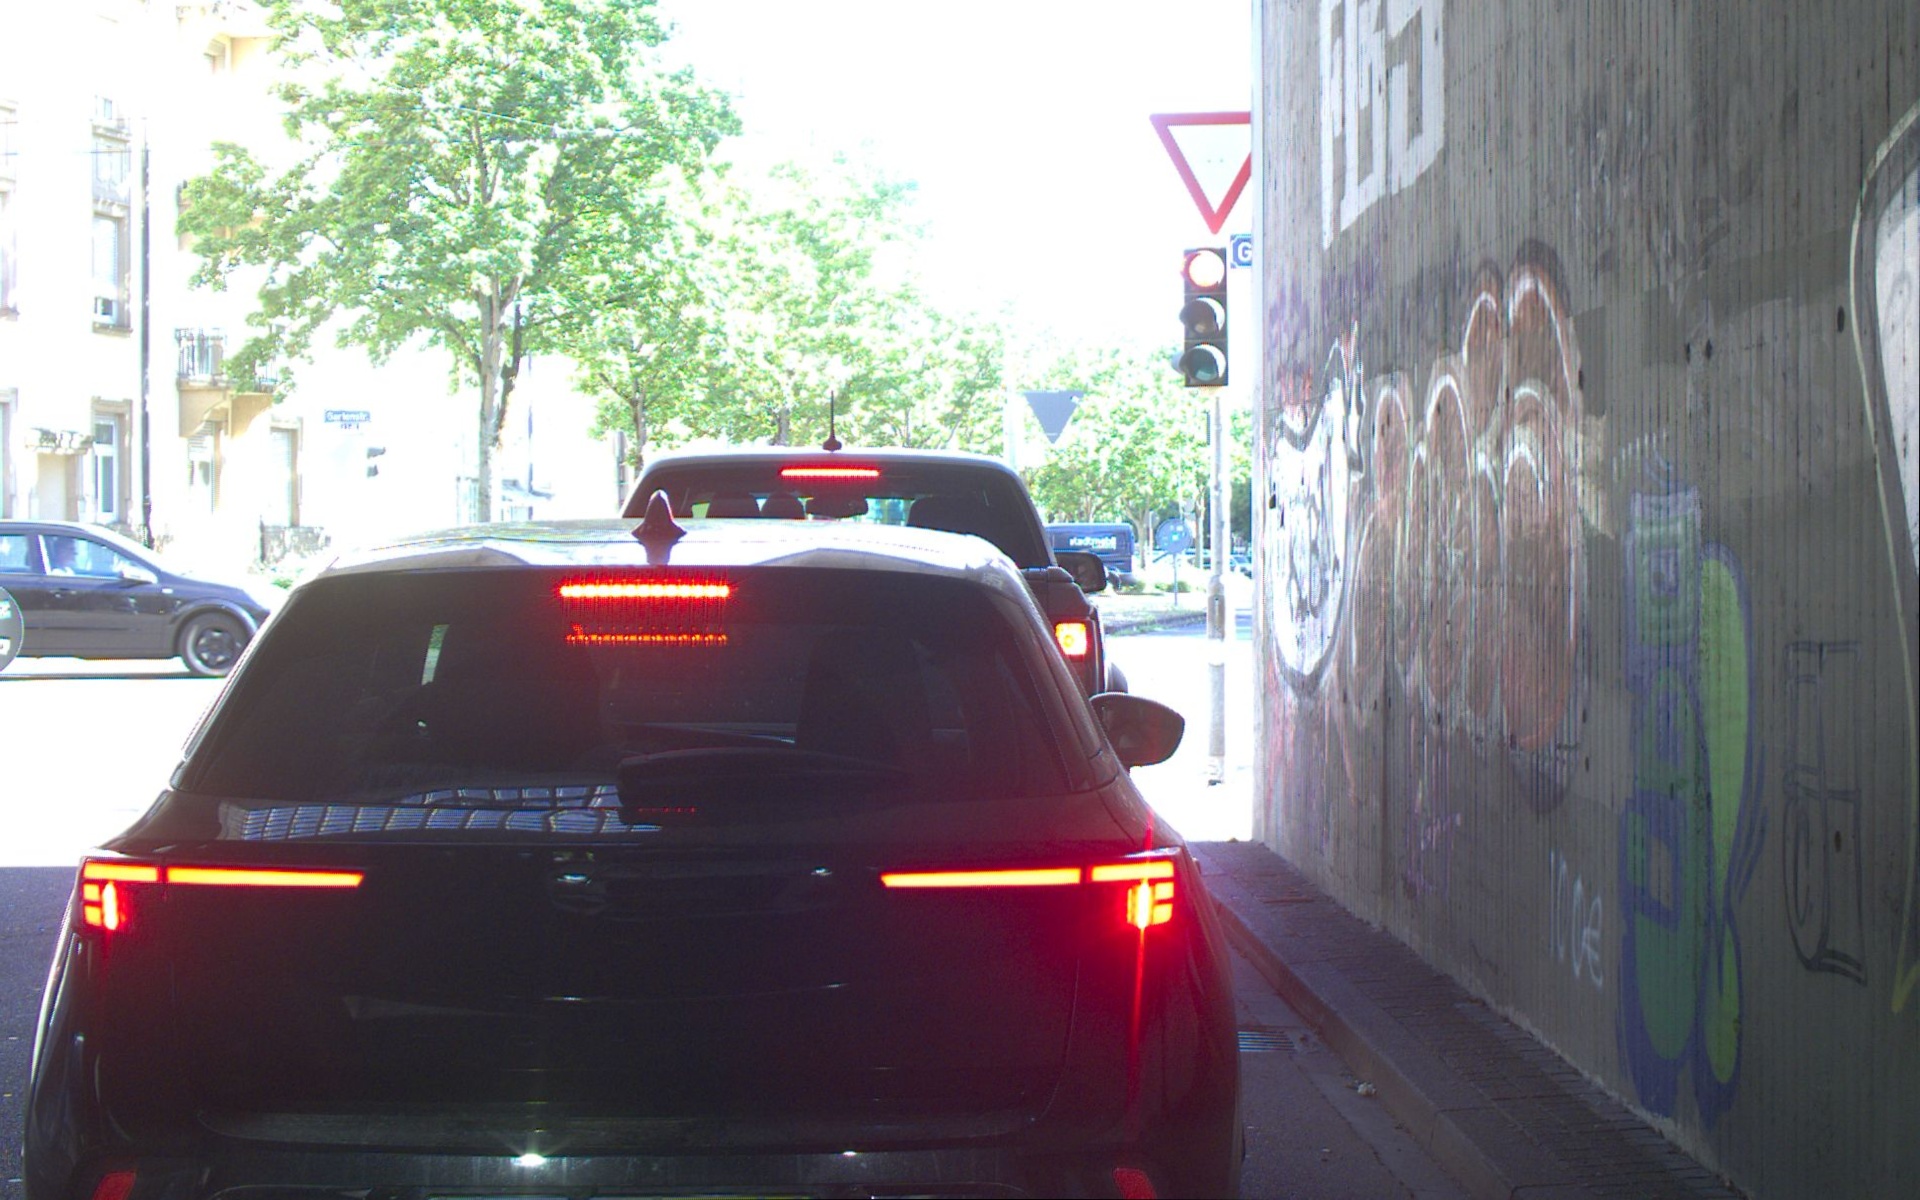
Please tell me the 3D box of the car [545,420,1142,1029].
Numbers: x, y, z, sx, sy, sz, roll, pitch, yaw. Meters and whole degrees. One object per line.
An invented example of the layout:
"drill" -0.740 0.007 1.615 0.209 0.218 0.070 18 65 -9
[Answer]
"car" -0.372 0.338 12.394 1.786 1.827 3.961 1 1 -1

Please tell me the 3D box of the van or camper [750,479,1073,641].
"van or camper" -0.579 -0.513 43.855 3.878 2.007 2.000 0 1 7

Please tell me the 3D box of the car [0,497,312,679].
"car" -8.464 -0.137 32.436 4.576 1.635 2.001 -1 2 -10

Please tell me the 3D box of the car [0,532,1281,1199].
"car" -0.487 0.635 6.418 1.753 1.493 4.000 1 1 0
